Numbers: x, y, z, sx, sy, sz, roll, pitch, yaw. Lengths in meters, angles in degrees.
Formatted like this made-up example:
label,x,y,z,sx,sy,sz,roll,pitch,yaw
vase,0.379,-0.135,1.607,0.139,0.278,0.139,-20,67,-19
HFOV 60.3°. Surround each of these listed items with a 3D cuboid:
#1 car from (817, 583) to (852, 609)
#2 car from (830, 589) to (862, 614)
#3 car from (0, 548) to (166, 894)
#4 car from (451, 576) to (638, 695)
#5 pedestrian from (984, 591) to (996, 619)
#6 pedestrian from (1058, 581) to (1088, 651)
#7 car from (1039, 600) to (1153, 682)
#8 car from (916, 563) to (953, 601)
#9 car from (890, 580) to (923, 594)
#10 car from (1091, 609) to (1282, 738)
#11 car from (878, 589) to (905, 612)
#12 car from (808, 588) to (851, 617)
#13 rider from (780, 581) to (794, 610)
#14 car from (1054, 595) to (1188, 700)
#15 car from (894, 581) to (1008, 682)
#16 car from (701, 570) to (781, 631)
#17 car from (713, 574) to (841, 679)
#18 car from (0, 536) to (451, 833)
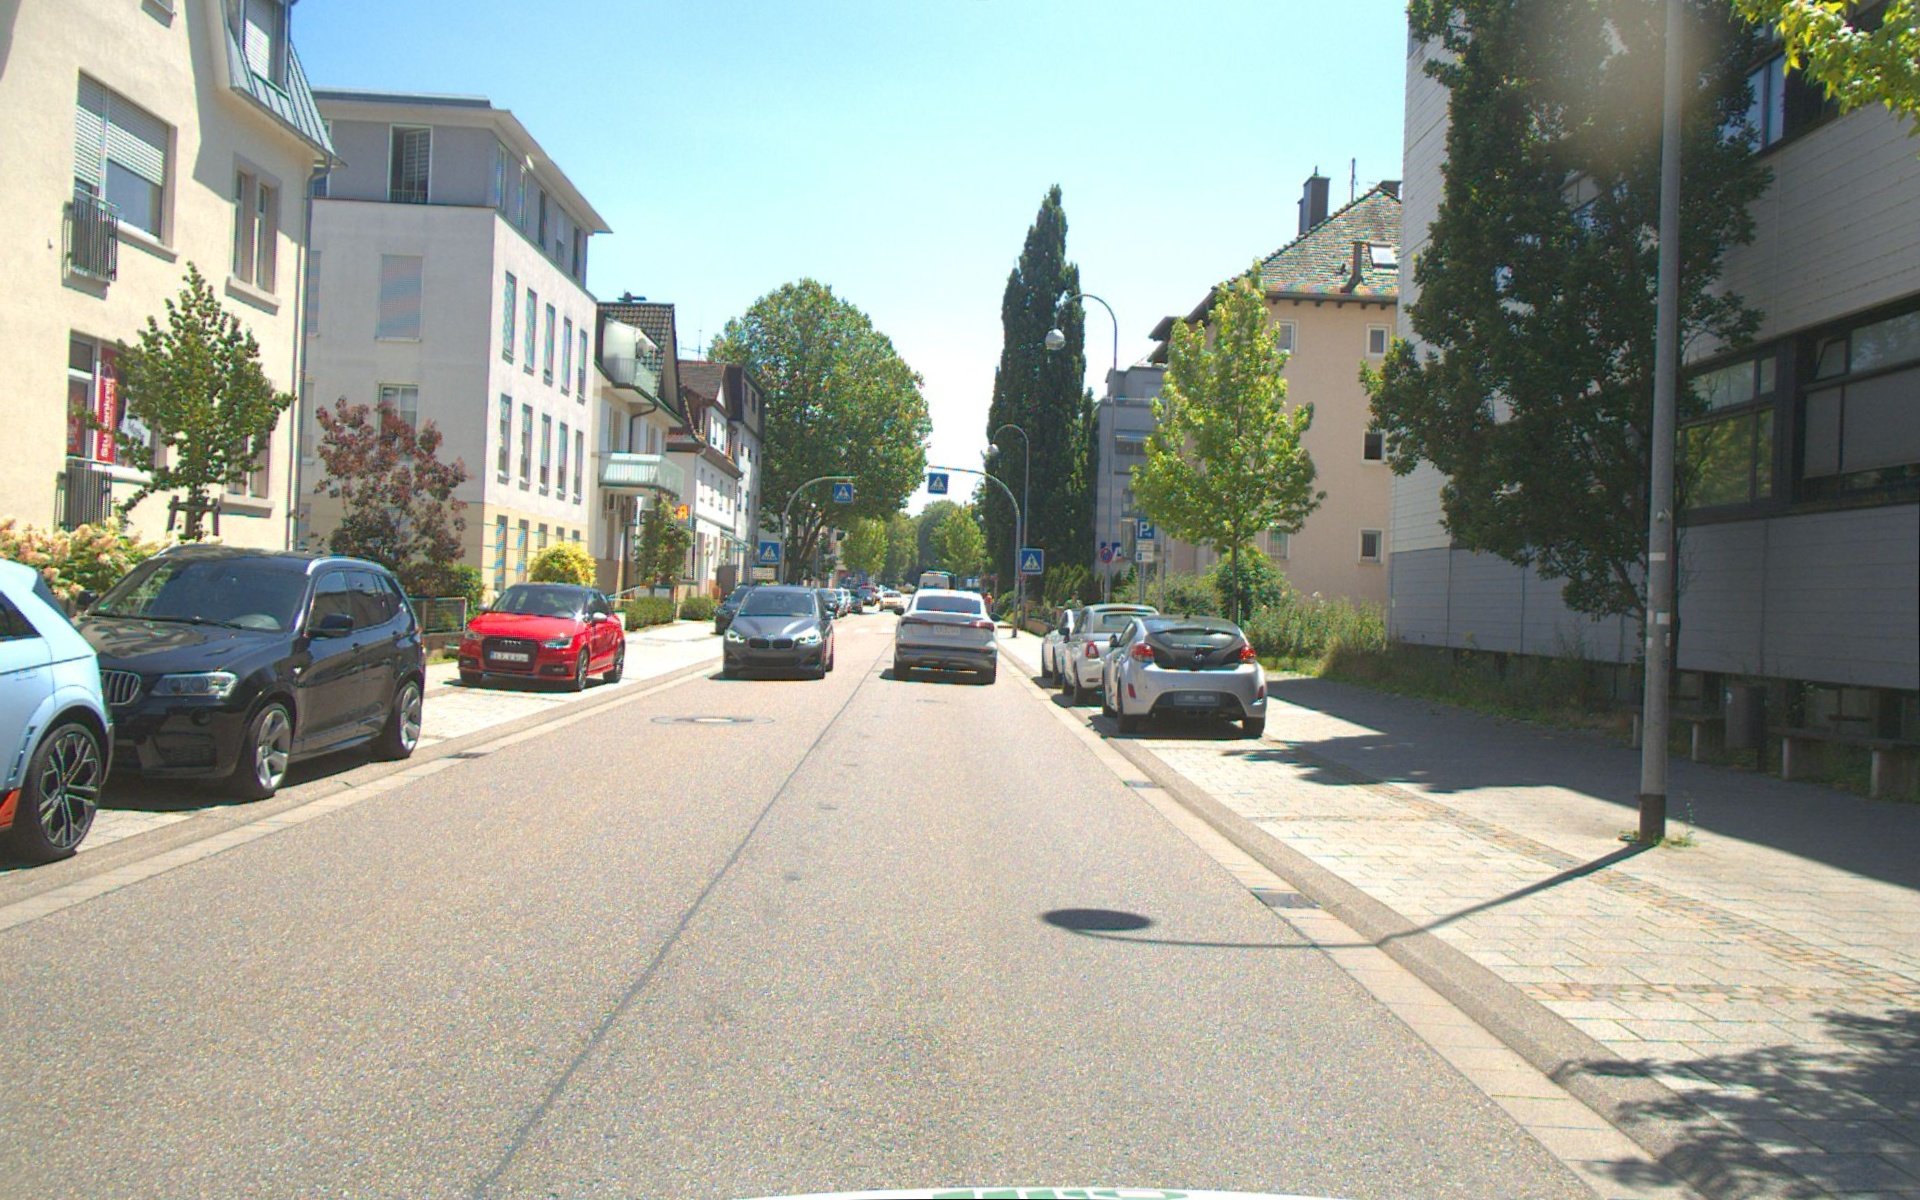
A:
label,x,y,z,sx,sy,sz,roll,pitch,yaw
car,-7.760,-0.272,102.524,1.953,1.546,3.999,2,1,-2
car,-7.467,0.097,108.726,1.953,1.546,3.999,2,1,-2
car,-5.438,0.529,6.947,1.887,1.600,4.658,5,1,-1
car,-5.932,0.454,24.033,1.616,1.443,3.905,5,1,0
pedestrian,1.944,0.327,107.514,0.680,1.766,0.667,2,0,-6
pedestrian,2.923,0.414,42.935,0.625,1.789,0.616,2,0,-6
car,2.544,0.746,31.919,1.691,1.407,4.400,1,1,-2
car,-1.571,-1.106,100.535,2.028,2.235,5.135,-1,1,-3
car,-6.737,-1.668,209.501,3.903,1.679,2.001,2,0,6
car,2.806,0.874,21.314,1.824,1.397,3.999,1,1,-1
car,-4.990,0.024,120.638,1.939,1.546,3.999,2,1,-2
car,-6.682,0.106,84.887,1.953,1.373,3.999,2,1,-2
rider,-9.404,-0.245,90.047,0.648,1.580,0.661,2,0,-2
car,2.534,0.707,26.980,1.625,1.514,4.344,1,1,-2
car,-0.187,0.532,31.635,1.897,1.642,4.471,5,1,-1
car,-6.719,-0.006,51.246,1.887,1.750,4.471,2,1,-1
car,-3.225,0.422,29.954,1.934,1.700,4.470,2,1,-2
car,-5.332,0.472,12.161,1.690,1.647,4.570,5,1,-1
